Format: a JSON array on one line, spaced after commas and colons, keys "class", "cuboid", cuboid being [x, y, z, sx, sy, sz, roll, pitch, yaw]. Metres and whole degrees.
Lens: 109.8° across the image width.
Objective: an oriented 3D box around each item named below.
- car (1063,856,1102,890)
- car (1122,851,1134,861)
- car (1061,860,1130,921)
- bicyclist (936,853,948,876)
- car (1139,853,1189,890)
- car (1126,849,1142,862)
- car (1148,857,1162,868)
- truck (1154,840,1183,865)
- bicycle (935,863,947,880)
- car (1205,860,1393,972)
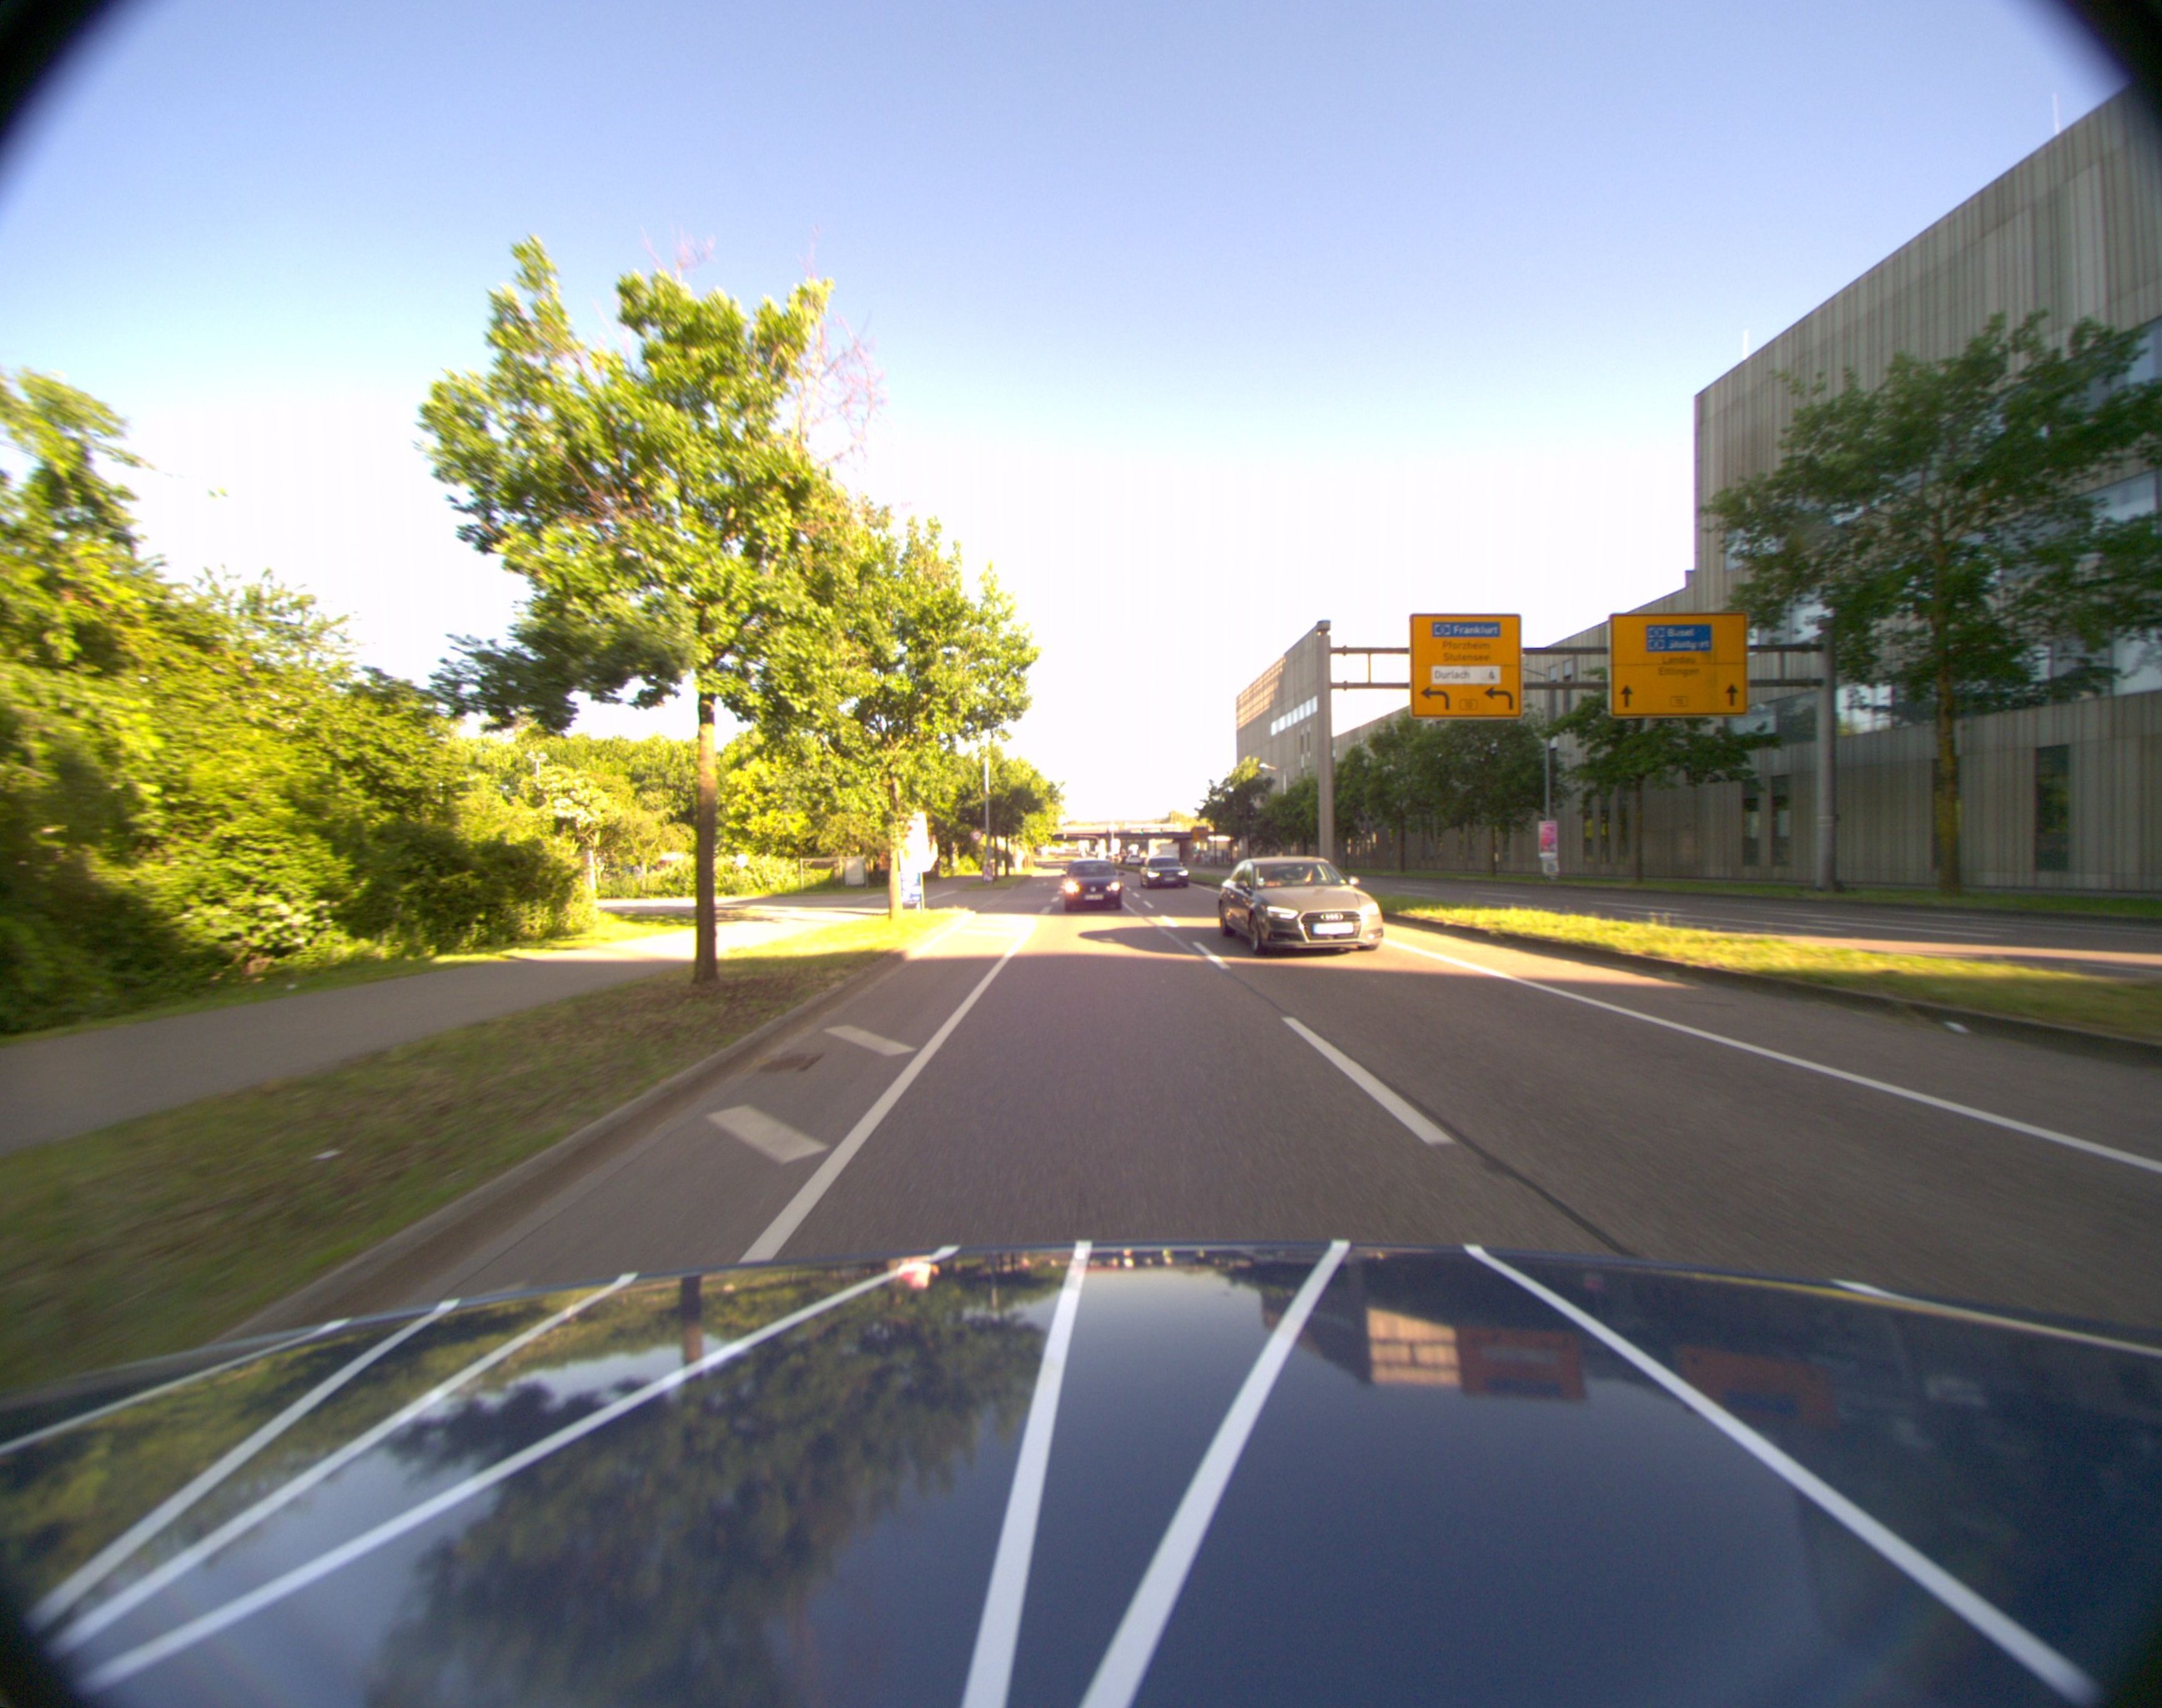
[{"class": "car", "cuboid": [0.030, 0.875, 36.326, 1.702, 1.478, 3.945, -1, 0, -2]}, {"class": "car", "cuboid": [7.176, 0.312, 116.938, 1.606, 1.571, 3.212, 0, 0, -1]}, {"class": "car", "cuboid": [0.320, 0.953, 21.430, 1.702, 1.474, 4.051, -2, 0, -2]}, {"class": "bicyclist", "cuboid": [-9.230, 0.692, 50.434, 0.687, 1.513, 1.035, -1, 1, -5]}, {"class": "car", "cuboid": [3.748, 0.751, 34.917, 1.702, 1.528, 3.945, -2, 0, -2]}, {"class": "car", "cuboid": [7.414, 0.190, 106.120, 1.829, 1.672, 4.657, 1, 0, -2]}, {"class": "car", "cuboid": [10.565, 1.245, 109.204, 1.624, 1.461, 3.639, 1, 0, -1]}, {"class": "truck", "cuboid": [10.705, -0.173, 93.765, 2.693, 2.943, 7.113, 1, 0, -1]}, {"class": "bicycle", "cuboid": [-9.305, 1.129, 50.523, 0.517, 1.066, 1.935, -1, 0, -4]}, {"class": "car", "cuboid": [3.263, 0.841, 12.302, 1.702, 1.396, 4.364, -1, 0, -1]}]
